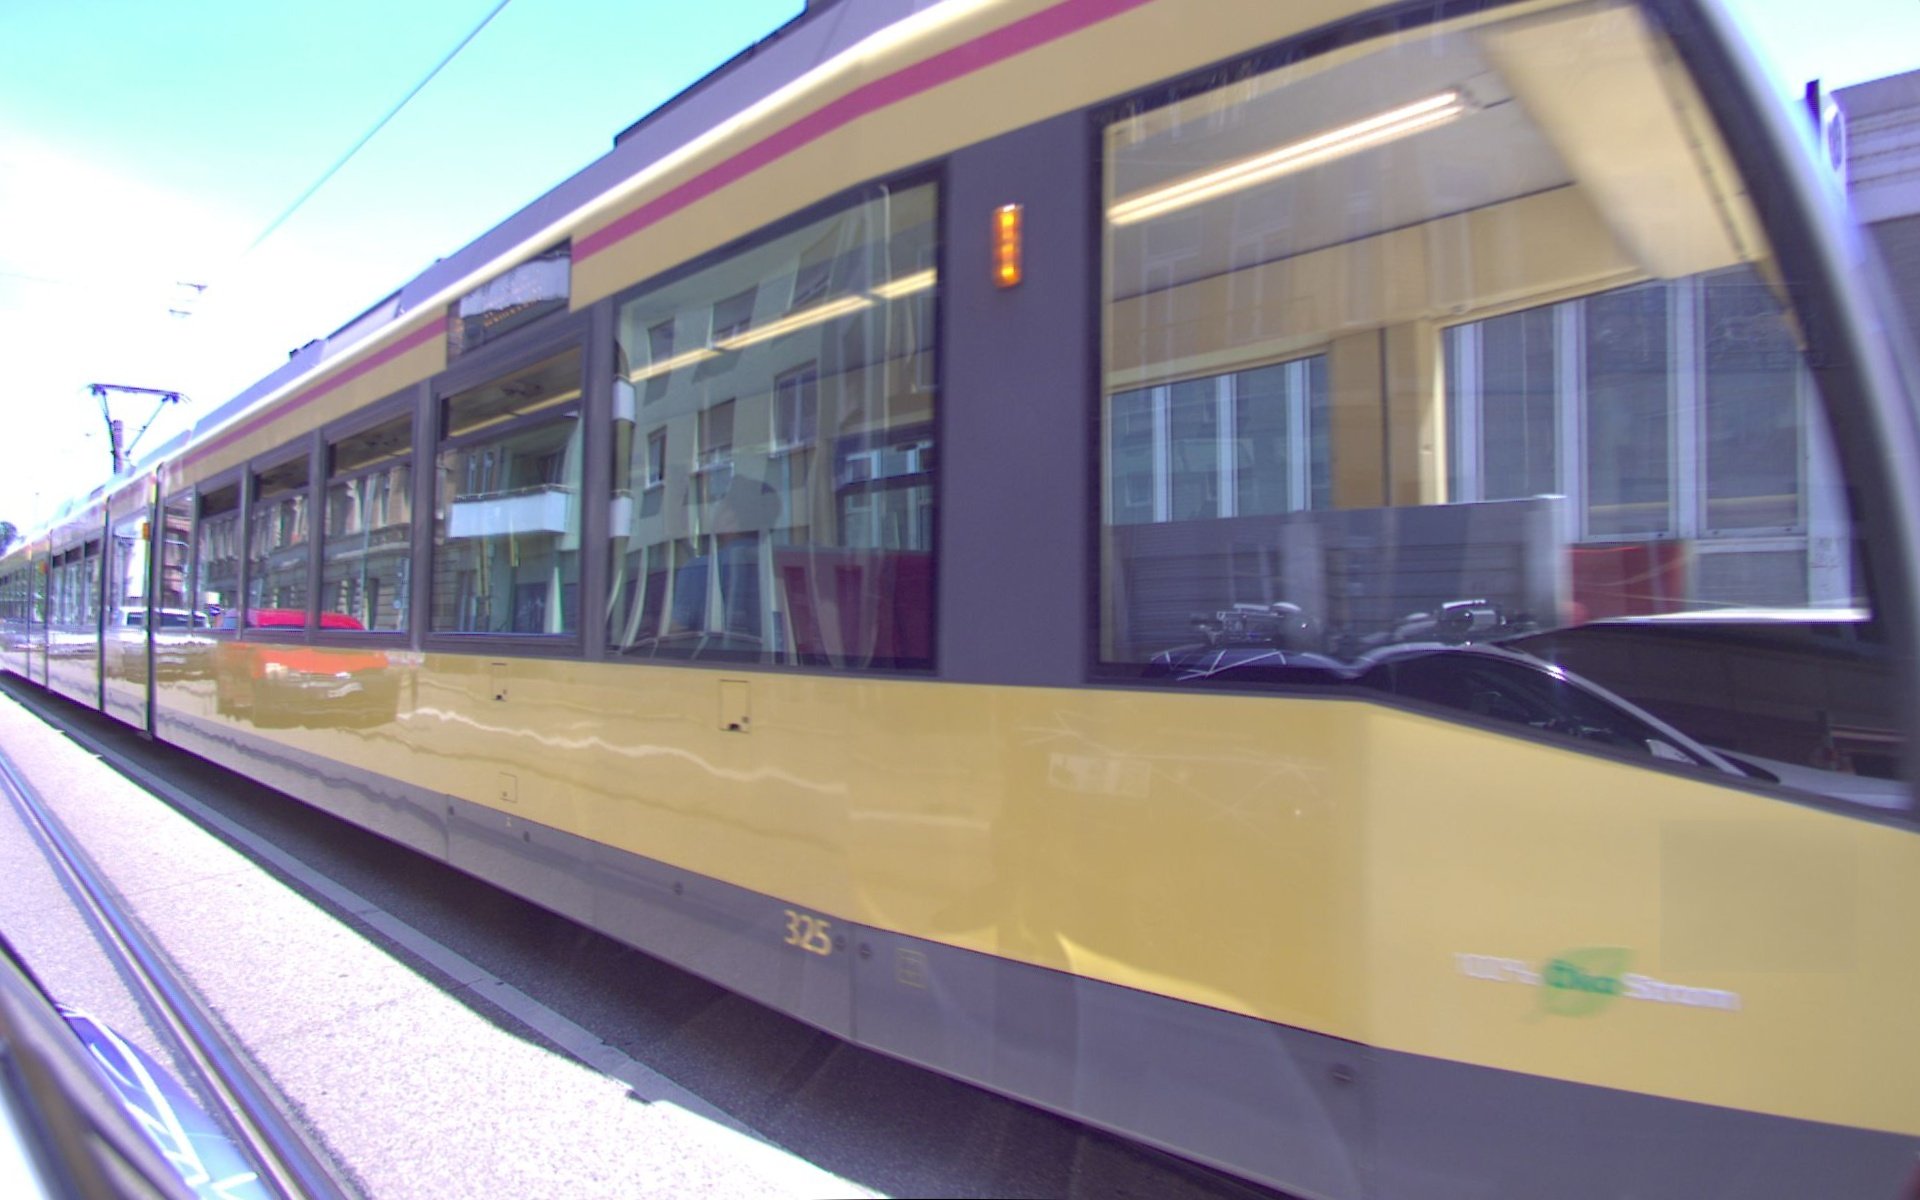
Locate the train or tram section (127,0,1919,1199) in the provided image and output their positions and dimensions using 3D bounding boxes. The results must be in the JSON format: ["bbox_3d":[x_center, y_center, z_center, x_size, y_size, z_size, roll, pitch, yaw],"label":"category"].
[{"bbox_3d":[-2.077,-0.267,6.199,13.423,3.607,2.928,-1,0,43],"label":"train or tram section"}]

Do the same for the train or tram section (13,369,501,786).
[{"bbox_3d":[-10.859,-0.093,14.410,13.423,3.607,2.928,-1,0,43],"label":"train or tram section"}]

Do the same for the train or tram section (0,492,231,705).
[{"bbox_3d":[-19.765,0.078,22.727,13.423,3.607,2.928,-1,0,43],"label":"train or tram section"}]
